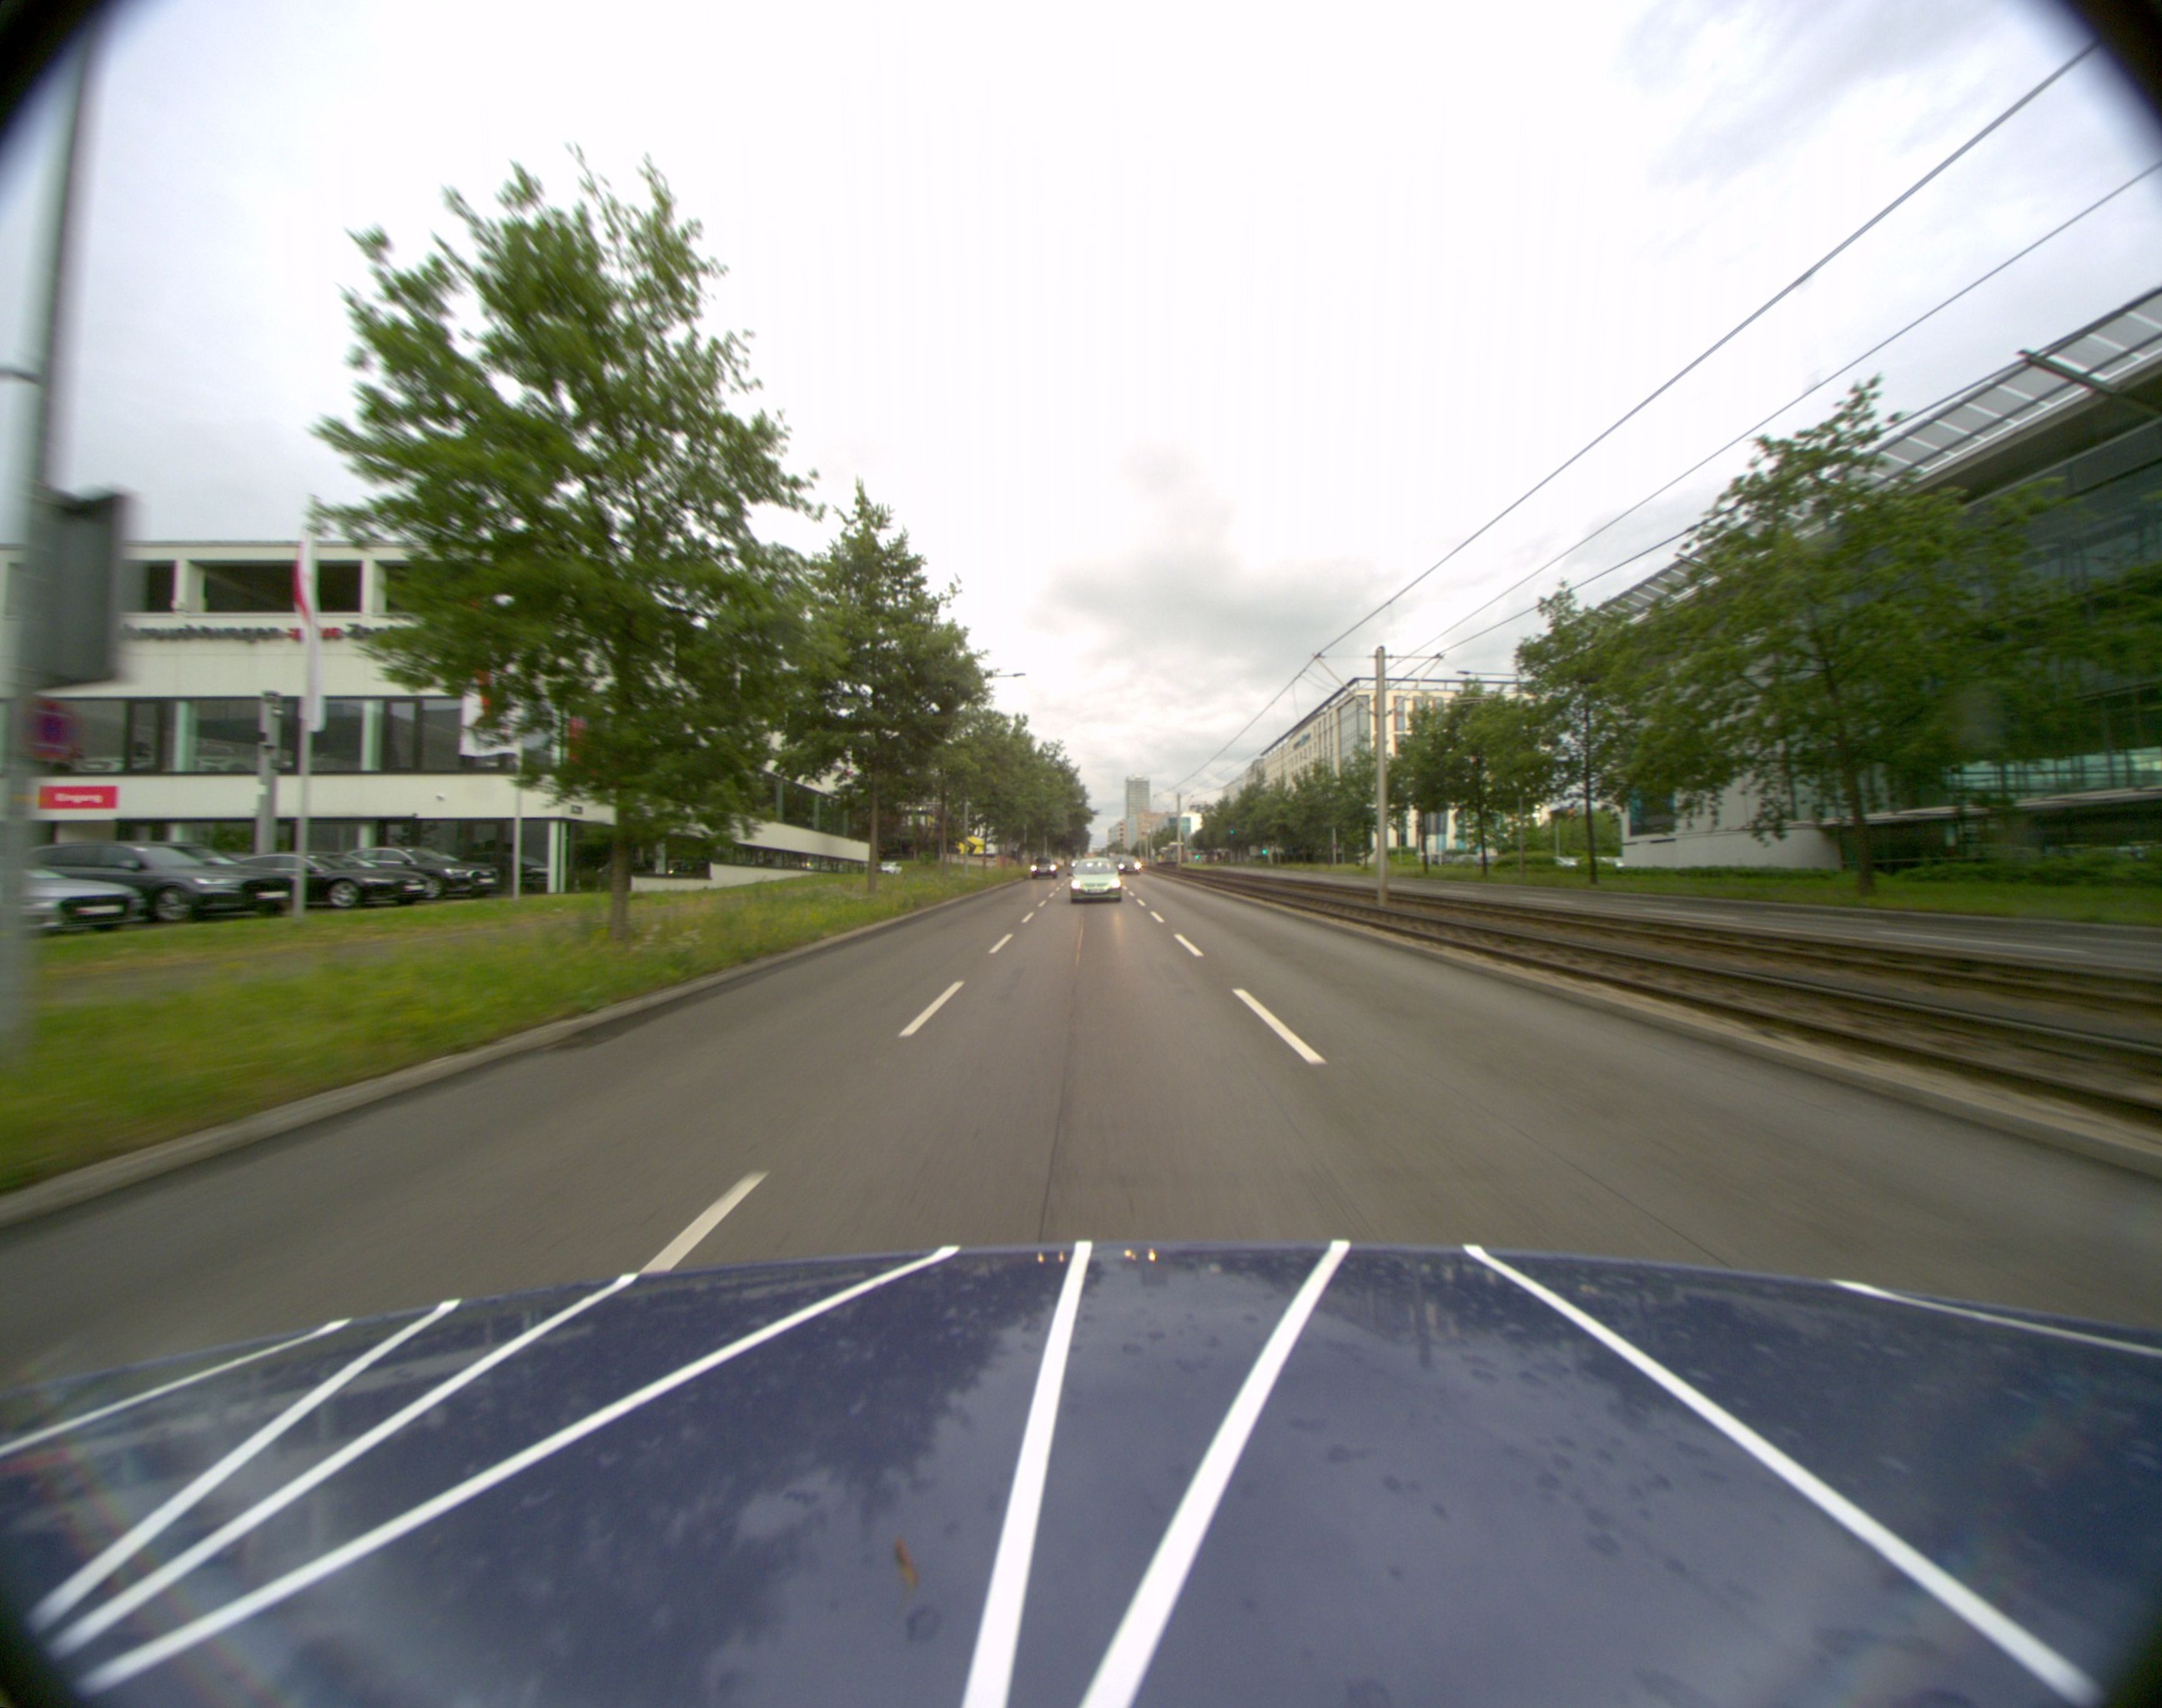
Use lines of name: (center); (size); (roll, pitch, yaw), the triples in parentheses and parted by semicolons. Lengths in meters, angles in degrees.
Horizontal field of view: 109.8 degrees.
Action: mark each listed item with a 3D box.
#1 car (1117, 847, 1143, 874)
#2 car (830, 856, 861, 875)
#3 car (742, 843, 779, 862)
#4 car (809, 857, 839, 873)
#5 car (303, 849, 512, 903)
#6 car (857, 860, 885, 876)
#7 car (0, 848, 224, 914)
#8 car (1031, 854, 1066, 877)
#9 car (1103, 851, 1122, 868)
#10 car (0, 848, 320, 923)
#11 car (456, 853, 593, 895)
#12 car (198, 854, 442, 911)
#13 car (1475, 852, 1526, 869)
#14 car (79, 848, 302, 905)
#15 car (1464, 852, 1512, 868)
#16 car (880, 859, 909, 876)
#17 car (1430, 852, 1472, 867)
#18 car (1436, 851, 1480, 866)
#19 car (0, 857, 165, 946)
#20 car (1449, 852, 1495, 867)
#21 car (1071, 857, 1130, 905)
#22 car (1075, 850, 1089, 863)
car: (3.941, 0.509, 61.085); (1.998, 2.002, 4.000); (-3, 1, 4)
car: (-21.656, 1.045, 69.893); (1.702, 1.666, 3.642); (1, 1, 0)
car: (-29.464, -0.149, 69.964); (1.702, 1.666, 3.642); (-3, 1, 0)
car: (-26.196, 1.113, 77.568); (1.702, 1.476, 3.642); (-3, 1, 0)
car: (-19.784, 0.603, 22.460); (4.408, 1.473, 1.931); (-1, 1, 0)
car: (-21.401, 1.442, 77.453); (1.702, 1.476, 3.642); (-3, 1, 0)
car: (-24.765, 0.642, 19.073); (4.288, 1.542, 1.826); (-1, 1, -1)
car: (-2.409, 0.888, 56.923); (1.827, 1.599, 4.117); (-2, -2, 8)
car: (3.653, 0.617, 87.681); (1.860, 1.798, 4.116); (-2, -2, 5)
car: (-19.505, 0.631, 16.249); (4.408, 1.492, 2.040); (0, 1, 1)
car: (-19.550, 0.655, 26.931); (1.902, 1.330, 3.922); (-1, 1, 0)
car: (-19.367, 0.703, 19.501); (4.330, 1.370, 1.836); (0, 1, -2)
car: (38.763, 0.625, 70.274); (3.990, 1.383, 1.806); (-2, 1, 28)
car: (-26.001, 0.627, 22.308); (4.288, 1.542, 1.826); (-1, 1, -1)
car: (38.920, 0.593, 72.768); (3.990, 1.383, 1.806); (-2, 1, 28)
car: (-18.807, 1.323, 76.805); (1.702, 1.476, 4.461); (-3, 1, 0)
car: (39.962, 0.613, 82.155); (3.990, 1.383, 1.806); (-2, 1, 28)
car: (39.251, 0.515, 79.033); (3.990, 1.383, 1.806); (-2, 1, 28)
car: (-19.396, 0.781, 13.314); (4.408, 1.419, 1.890); (0, 1, 1)
car: (39.154, 0.548, 76.107); (3.990, 1.383, 1.767); (-2, 1, 28)
car: (0.759, 0.916, 26.803); (1.828, 1.499, 4.116); (-2, -1, 4)
car: (0.114, 0.397, 118.175); (1.860, 1.798, 4.116); (-2, -2, 3)
